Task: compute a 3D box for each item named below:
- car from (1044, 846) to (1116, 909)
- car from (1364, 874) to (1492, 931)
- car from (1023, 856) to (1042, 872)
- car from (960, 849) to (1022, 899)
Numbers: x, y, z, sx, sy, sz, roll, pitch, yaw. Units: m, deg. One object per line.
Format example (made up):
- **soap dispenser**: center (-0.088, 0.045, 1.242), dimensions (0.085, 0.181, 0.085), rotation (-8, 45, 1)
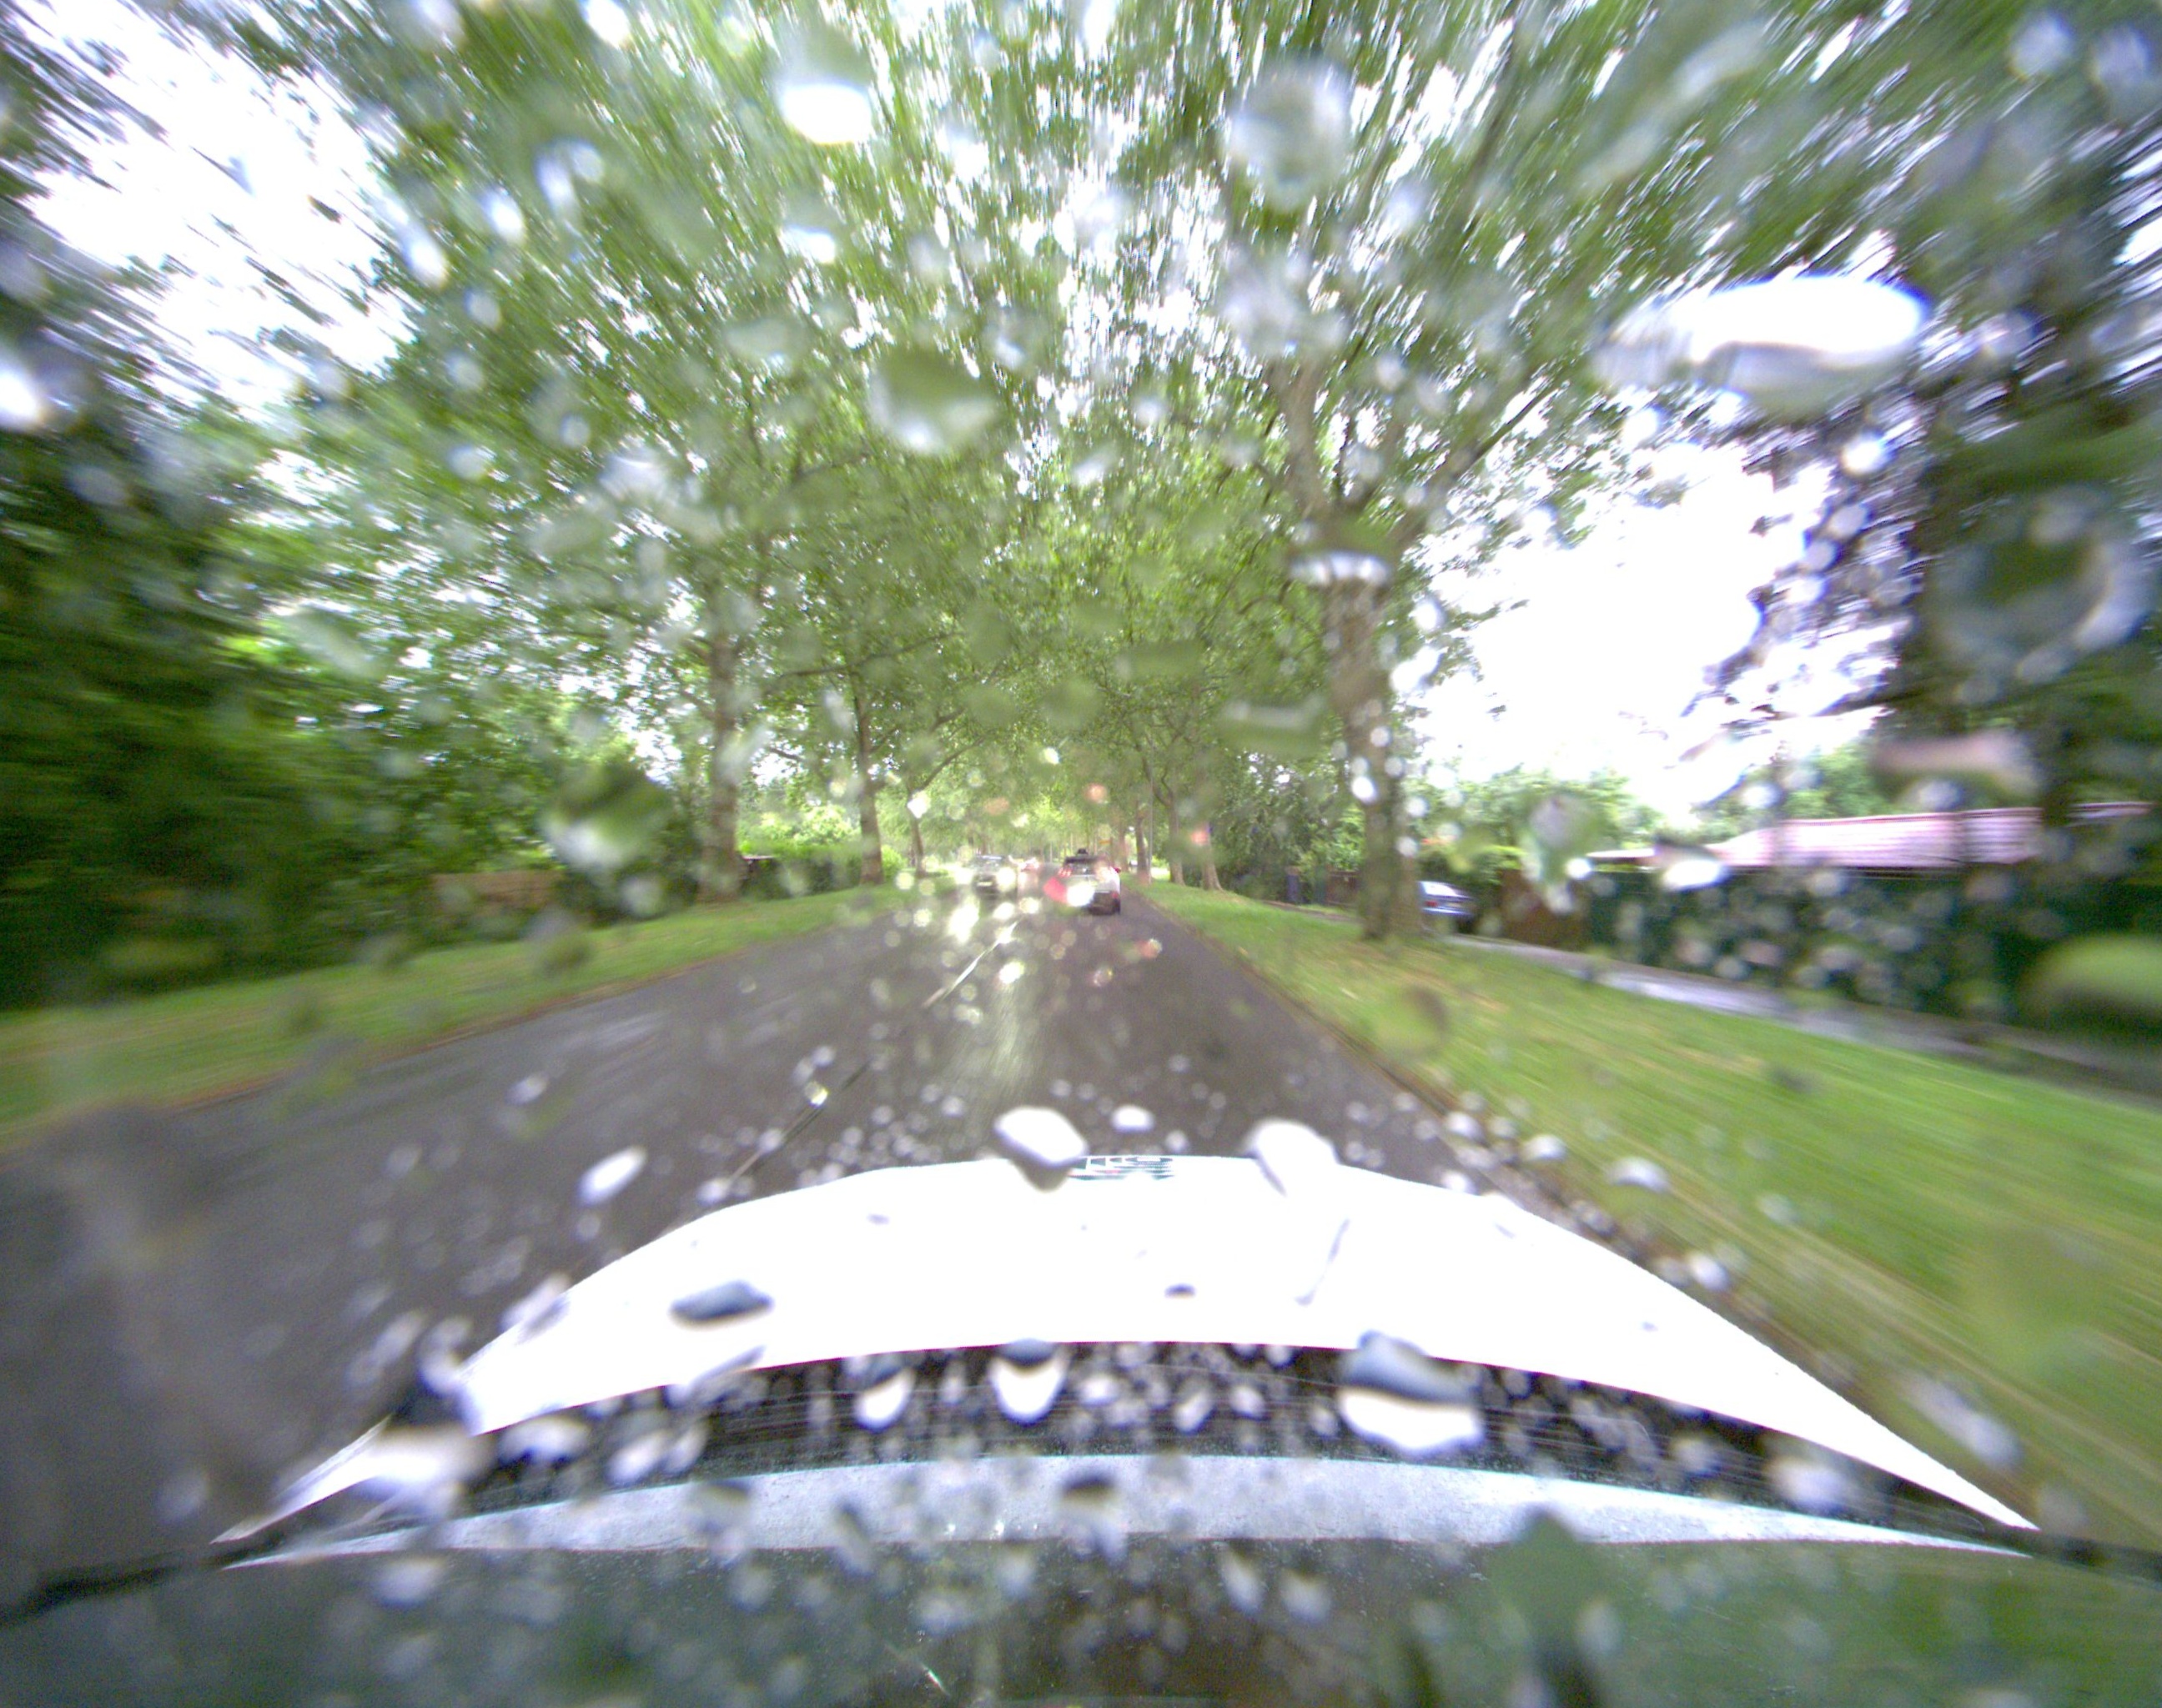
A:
- **car**: center (0.061, 0.601, 22.646), dimensions (1.786, 1.578, 3.847), rotation (1, 0, 3)
- **car**: center (10.029, 1.364, 23.901), dimensions (1.792, 1.325, 3.995), rotation (5, -1, -3)
- **car**: center (-4.940, 0.996, 82.458), dimensions (1.842, 1.502, 3.995), rotation (1, 0, -4)
- **car**: center (-3.324, 0.708, 30.819), dimensions (1.802, 1.728, 4.455), rotation (1, 0, 0)
